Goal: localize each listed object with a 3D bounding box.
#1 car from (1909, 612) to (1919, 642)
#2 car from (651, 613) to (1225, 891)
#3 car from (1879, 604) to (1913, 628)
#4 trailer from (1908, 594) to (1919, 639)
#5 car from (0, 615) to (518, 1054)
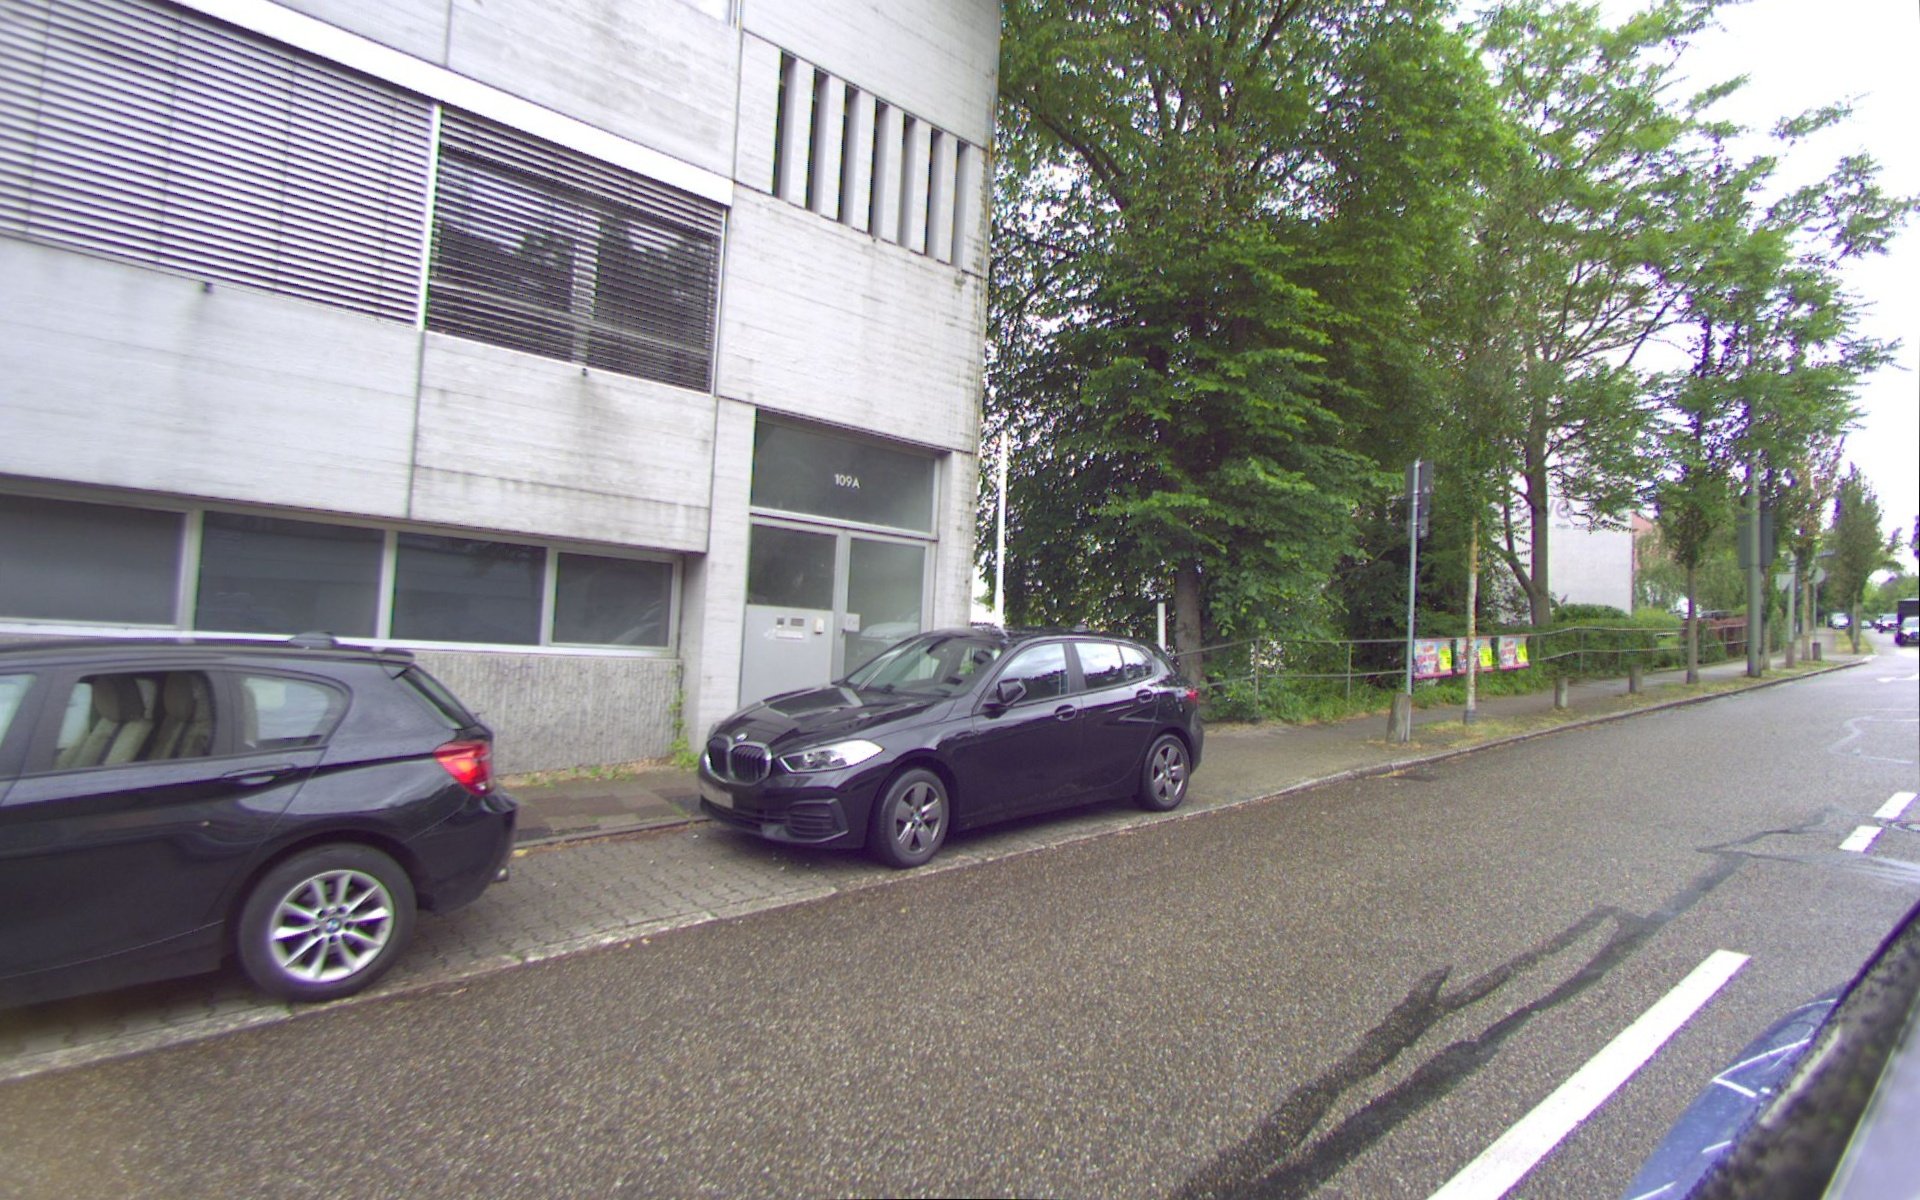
[{"bbox_3d":[55.408,1.519,57.788,1.731,1.640,3.422,0,0,43],"label":"car"},{"bbox_3d":[0.028,0.849,7.559,4.084,1.462,1.841,0,0,-42],"label":"car"},{"bbox_3d":[82.970,1.402,89.748,1.991,2.039,3.942,0,0,40],"label":"car"},{"bbox_3d":[57.580,0.953,60.137,1.766,2.658,2.986,0,0,43],"label":"trailer"},{"bbox_3d":[-4.082,0.820,3.954,4.022,1.462,1.711,0,0,-38],"label":"car"}]
